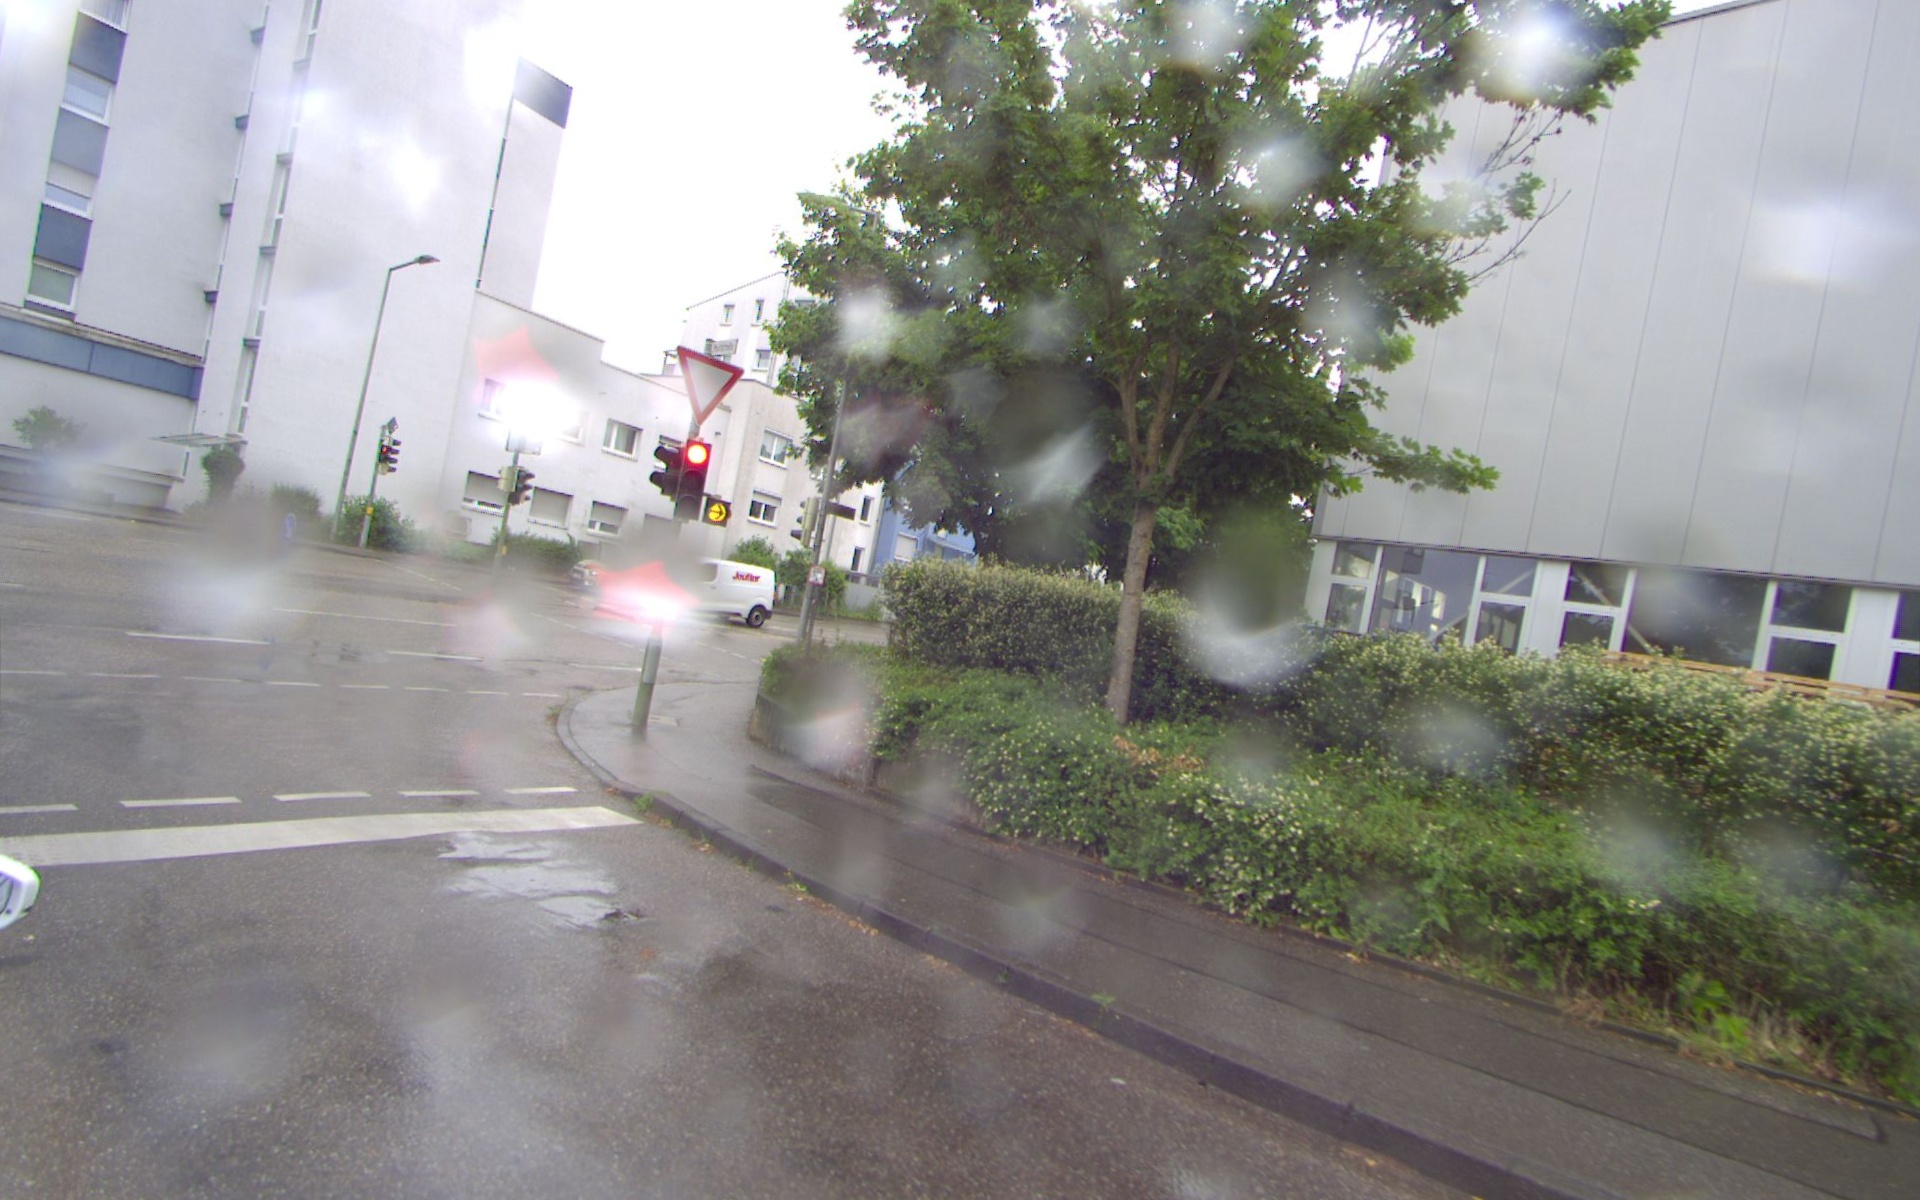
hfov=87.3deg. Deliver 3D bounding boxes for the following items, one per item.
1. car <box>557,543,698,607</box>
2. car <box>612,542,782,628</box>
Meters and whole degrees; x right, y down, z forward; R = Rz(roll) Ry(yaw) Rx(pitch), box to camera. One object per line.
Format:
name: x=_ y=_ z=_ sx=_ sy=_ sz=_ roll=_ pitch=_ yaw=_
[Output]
car: x=-10.969 y=-0.803 z=33.400 sx=1.803 sy=1.485 sz=3.989 roll=9 pitch=0 yaw=36
car: x=-8.094 y=-0.403 z=31.389 sx=1.800 sy=1.939 sz=4.816 roll=7 pitch=-2 yaw=39
